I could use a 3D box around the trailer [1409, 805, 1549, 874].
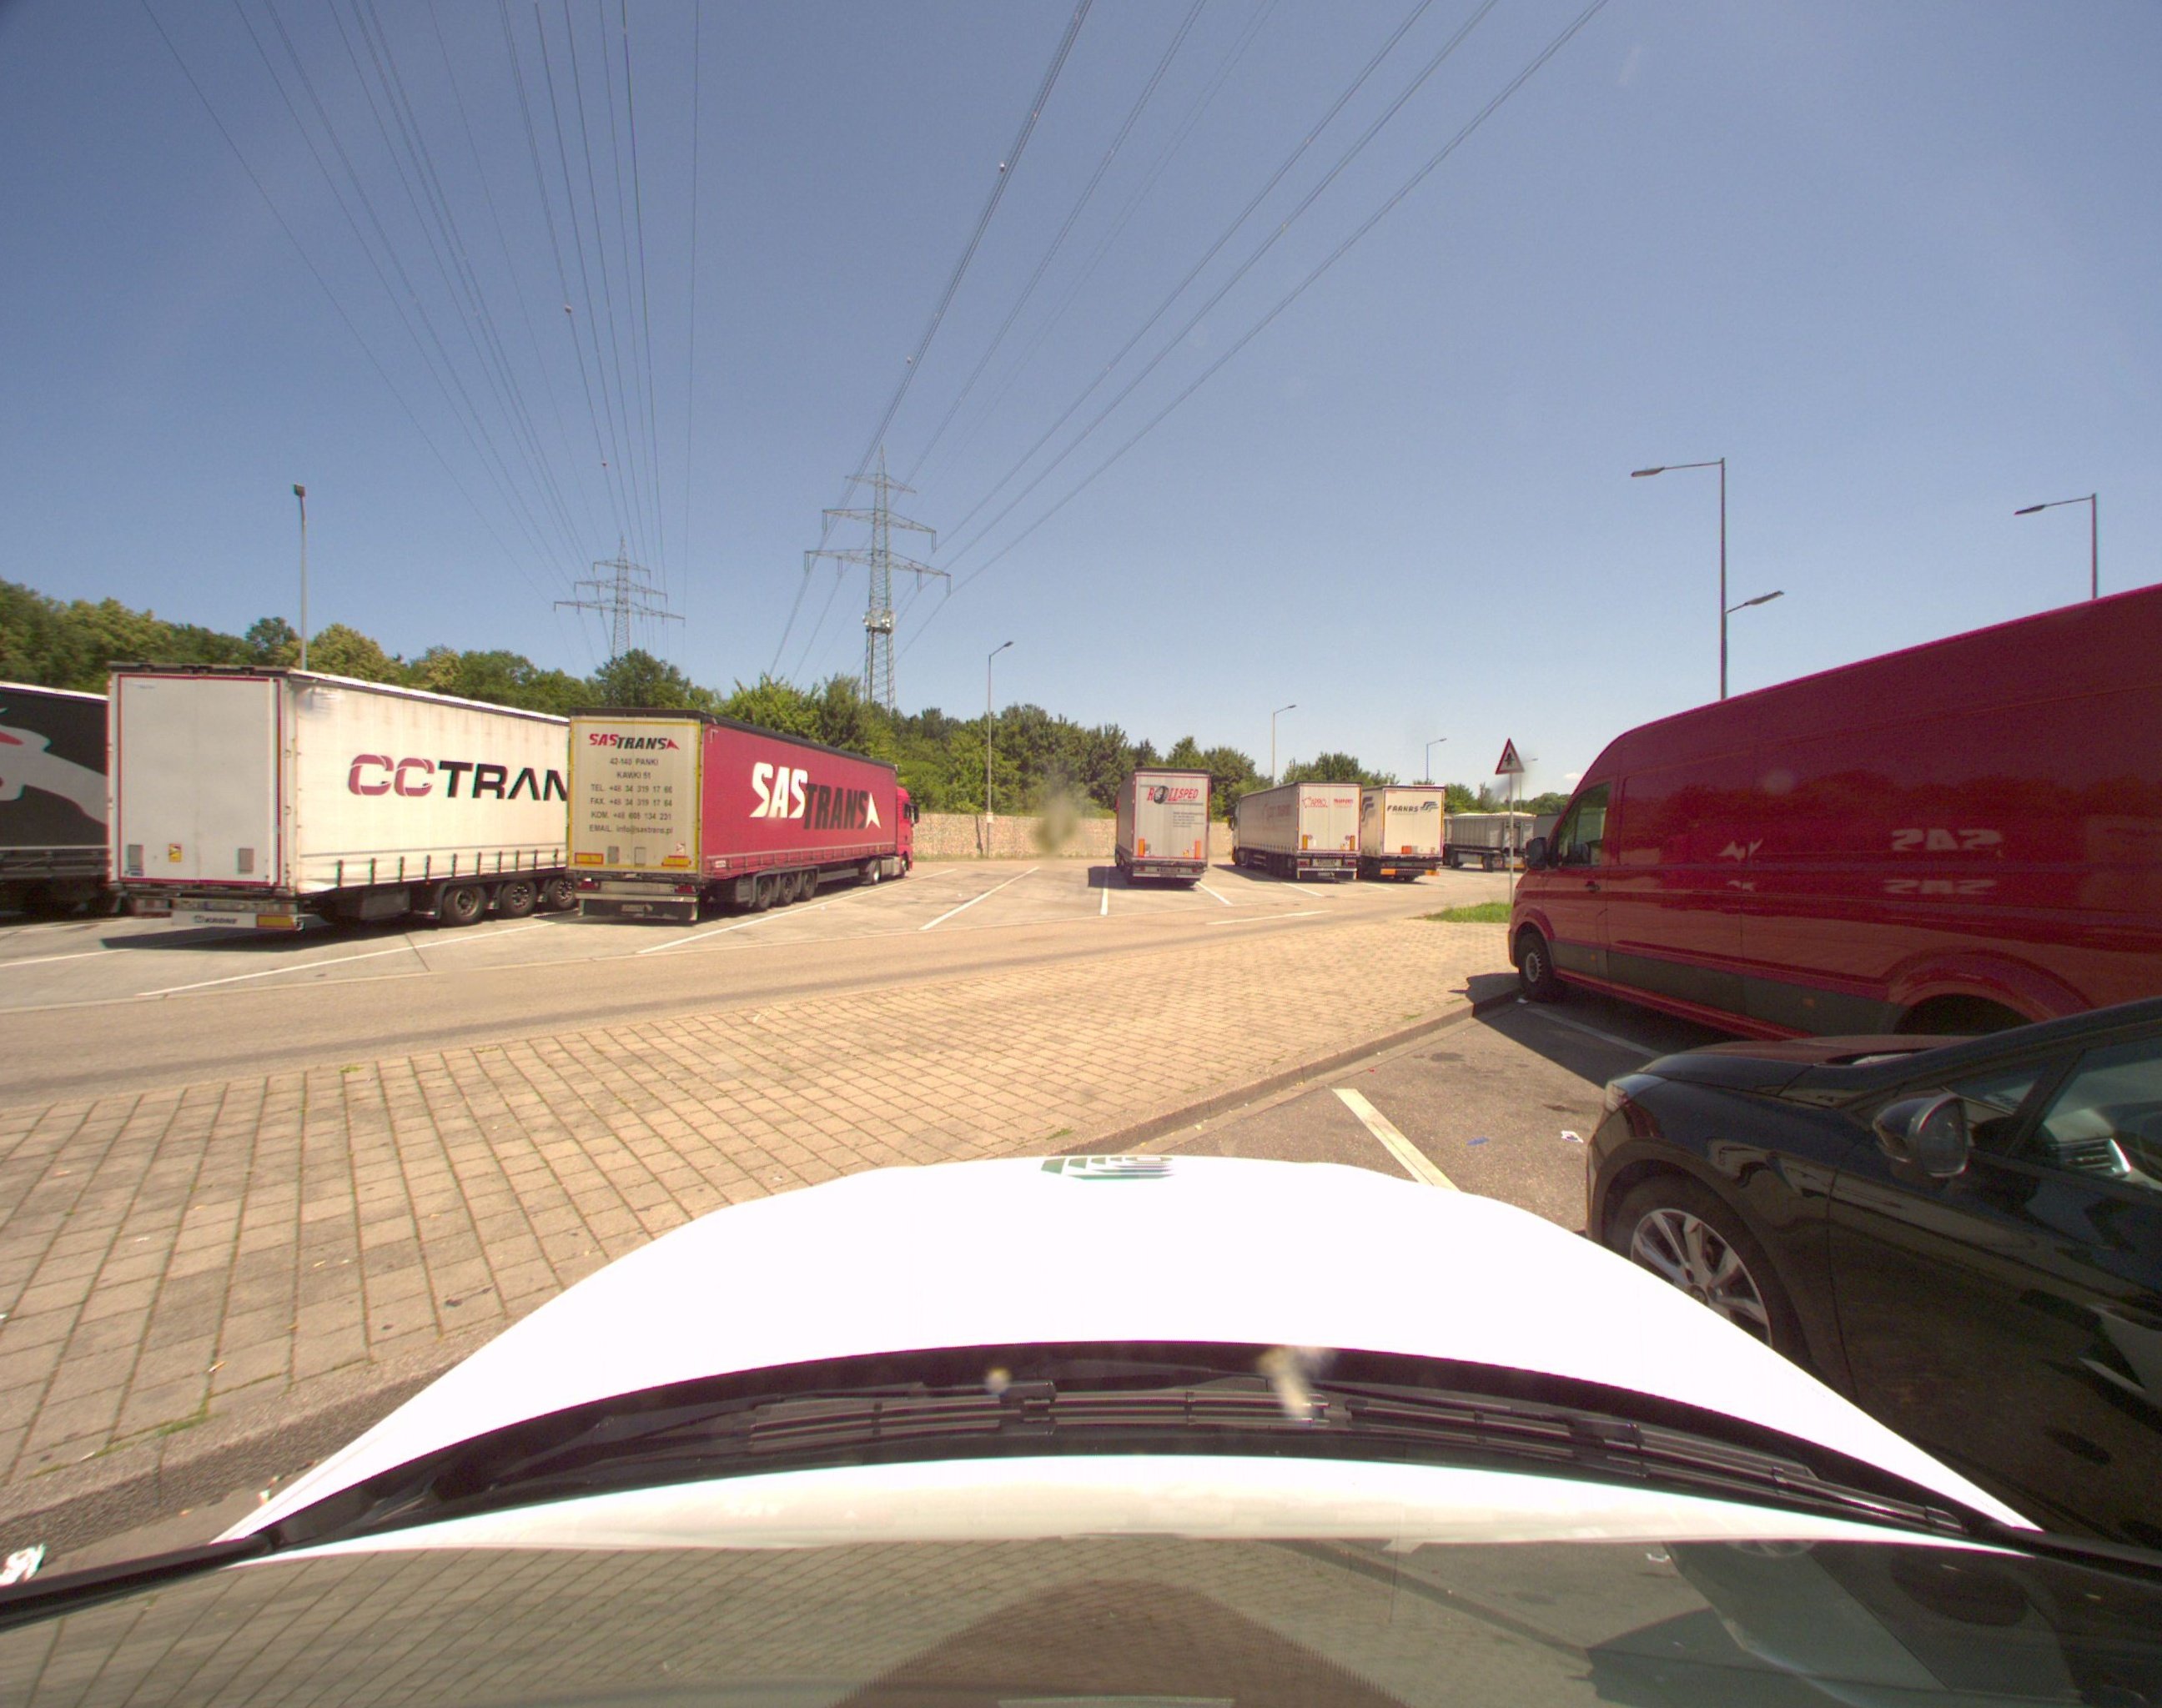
[{"bbox_3d":[24.535,-0.992,51.448,2.826,3.717,13.737,1,2,3],"label":"trailer"}]

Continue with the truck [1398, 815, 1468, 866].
[{"bbox_3d":[24.923,-0.999,57.947,2.840,3.364,5.488,1,1,3],"label":"truck"}]

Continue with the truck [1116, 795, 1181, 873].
[{"bbox_3d":[3.173,-0.980,39.901,2.841,3.483,5.486,1,1,2],"label":"truck"}]

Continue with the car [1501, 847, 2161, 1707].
[{"bbox_3d":[2.529,0.754,1.171,1.733,1.482,3.813,-1,1,-3],"label":"car"}]

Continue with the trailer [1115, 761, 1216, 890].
[{"bbox_3d":[3.031,-1.095,33.289,2.896,4.132,13.727,1,2,1],"label":"trailer"}]

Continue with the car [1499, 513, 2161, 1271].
[{"bbox_3d":[5.171,0.087,5.482,2.055,2.695,6.405,-1,1,6],"label":"car"}]

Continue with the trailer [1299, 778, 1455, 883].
[{"bbox_3d":[13.617,-1.114,39.280,2.828,4.132,13.730,1,2,2],"label":"trailer"}]

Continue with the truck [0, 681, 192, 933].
[{"bbox_3d":[-18.571,-0.797,13.553,2.692,4.016,4.326,1,2,2],"label":"truck"}]

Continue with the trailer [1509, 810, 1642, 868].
[{"bbox_3d":[38.376,-1.227,64.134,2.826,4.049,13.737,1,2,3],"label":"trailer"}]

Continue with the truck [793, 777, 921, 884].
[{"bbox_3d":[-7.794,-0.828,29.084,2.841,3.427,5.486,1,1,2],"label":"truck"}]

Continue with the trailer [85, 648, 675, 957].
[{"bbox_3d":[-12.196,-0.885,16.318,2.718,4.209,10.175,1,2,2],"label":"trailer"}]

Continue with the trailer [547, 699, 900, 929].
[{"bbox_3d":[-8.031,-0.948,21.648,2.896,4.131,13.731,1,2,2],"label":"trailer"}]

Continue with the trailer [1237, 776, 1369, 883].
[{"bbox_3d":[9.960,-1.147,38.616,2.828,4.132,13.730,1,2,2],"label":"trailer"}]

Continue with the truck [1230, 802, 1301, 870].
[{"bbox_3d":[10.168,-1.020,45.427,2.841,3.483,5.486,1,1,2],"label":"truck"}]
